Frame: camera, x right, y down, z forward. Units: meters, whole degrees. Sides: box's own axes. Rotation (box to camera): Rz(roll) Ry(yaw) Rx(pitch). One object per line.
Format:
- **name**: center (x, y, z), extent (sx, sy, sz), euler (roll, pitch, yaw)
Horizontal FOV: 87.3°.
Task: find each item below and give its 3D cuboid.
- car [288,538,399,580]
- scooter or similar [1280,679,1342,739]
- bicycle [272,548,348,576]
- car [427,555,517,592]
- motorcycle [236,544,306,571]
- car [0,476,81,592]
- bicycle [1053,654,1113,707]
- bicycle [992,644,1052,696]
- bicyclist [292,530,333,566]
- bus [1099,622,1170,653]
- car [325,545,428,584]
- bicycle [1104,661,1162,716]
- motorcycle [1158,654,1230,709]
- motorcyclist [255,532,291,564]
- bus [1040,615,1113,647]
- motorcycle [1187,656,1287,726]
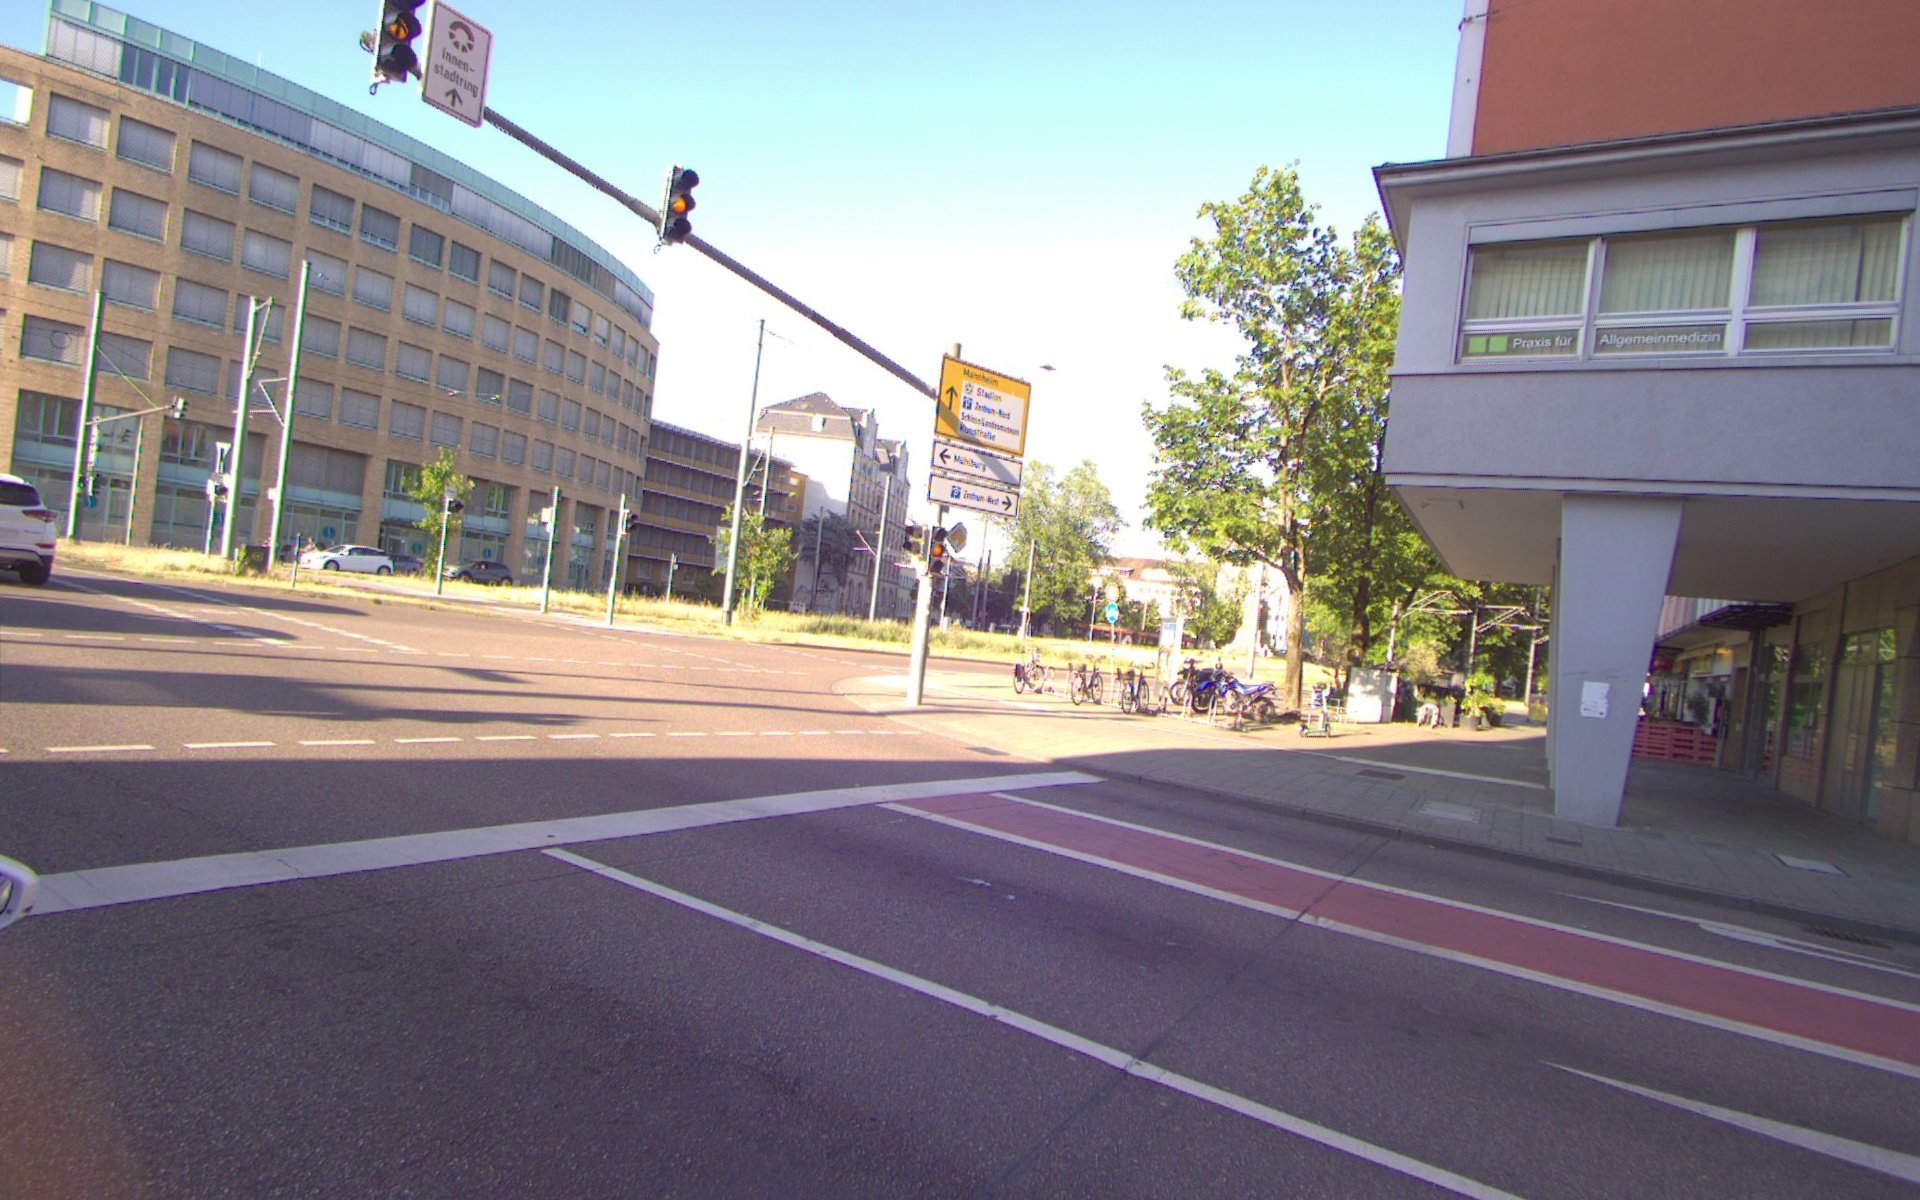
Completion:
- **car**: center (-30.452, -1.992, 49.799), extent (1.961, 1.509, 4.171), euler (6, -1, 29)
- **scooter or similar**: center (7.893, 2.448, 22.588), extent (1.549, 1.251, 0.479), euler (6, 1, -40)
- **bicycle**: center (-32.746, -1.887, 50.705), extent (1.134, 1.012, 2.966), euler (6, -1, 29)
- **car**: center (-26.998, -1.439, 55.766), extent (1.790, 1.509, 4.058), euler (6, -1, 30)
- **motorcycle**: center (-35.228, -2.173, 51.489), extent (1.014, 0.975, 2.722), euler (6, -1, 30)
- **car**: center (-16.043, -1.217, 15.928), extent (4.199, 1.626, 1.920), euler (6, -2, 32)
- **bicycle**: center (2.925, 1.862, 23.694), extent (0.584, 1.129, 2.003), euler (7, 1, 29)
- **bicycle**: center (1.535, 1.686, 24.518), extent (0.584, 1.129, 1.974), euler (7, 1, 29)
- **bicyclist**: center (-32.632, -2.610, 50.736), extent (1.134, 1.591, 1.225), euler (6, 0, 30)
- **bus**: center (24.799, 5.402, 142.778), extent (10.969, 3.248, 2.333), euler (7, -1, -33)
- **car**: center (-32.496, -1.968, 56.130), extent (1.953, 1.555, 4.488), euler (6, -1, 32)
- **bicycle**: center (3.996, 1.998, 23.075), extent (0.583, 1.129, 2.058), euler (7, 1, 28)
- **motorcycle**: center (6.495, 2.269, 27.856), extent (2.044, 1.324, 0.880), euler (7, -1, -44)
- **motorcyclist**: center (-35.168, -2.648, 51.501), extent (1.014, 1.453, 1.067), euler (6, 0, 31)
- **bus**: center (15.901, 4.205, 136.475), extent (11.026, 3.248, 2.386), euler (8, -1, -38)
- **motorcycle**: center (6.901, 2.244, 25.055), extent (2.224, 1.409, 0.845), euler (7, -1, 19)
